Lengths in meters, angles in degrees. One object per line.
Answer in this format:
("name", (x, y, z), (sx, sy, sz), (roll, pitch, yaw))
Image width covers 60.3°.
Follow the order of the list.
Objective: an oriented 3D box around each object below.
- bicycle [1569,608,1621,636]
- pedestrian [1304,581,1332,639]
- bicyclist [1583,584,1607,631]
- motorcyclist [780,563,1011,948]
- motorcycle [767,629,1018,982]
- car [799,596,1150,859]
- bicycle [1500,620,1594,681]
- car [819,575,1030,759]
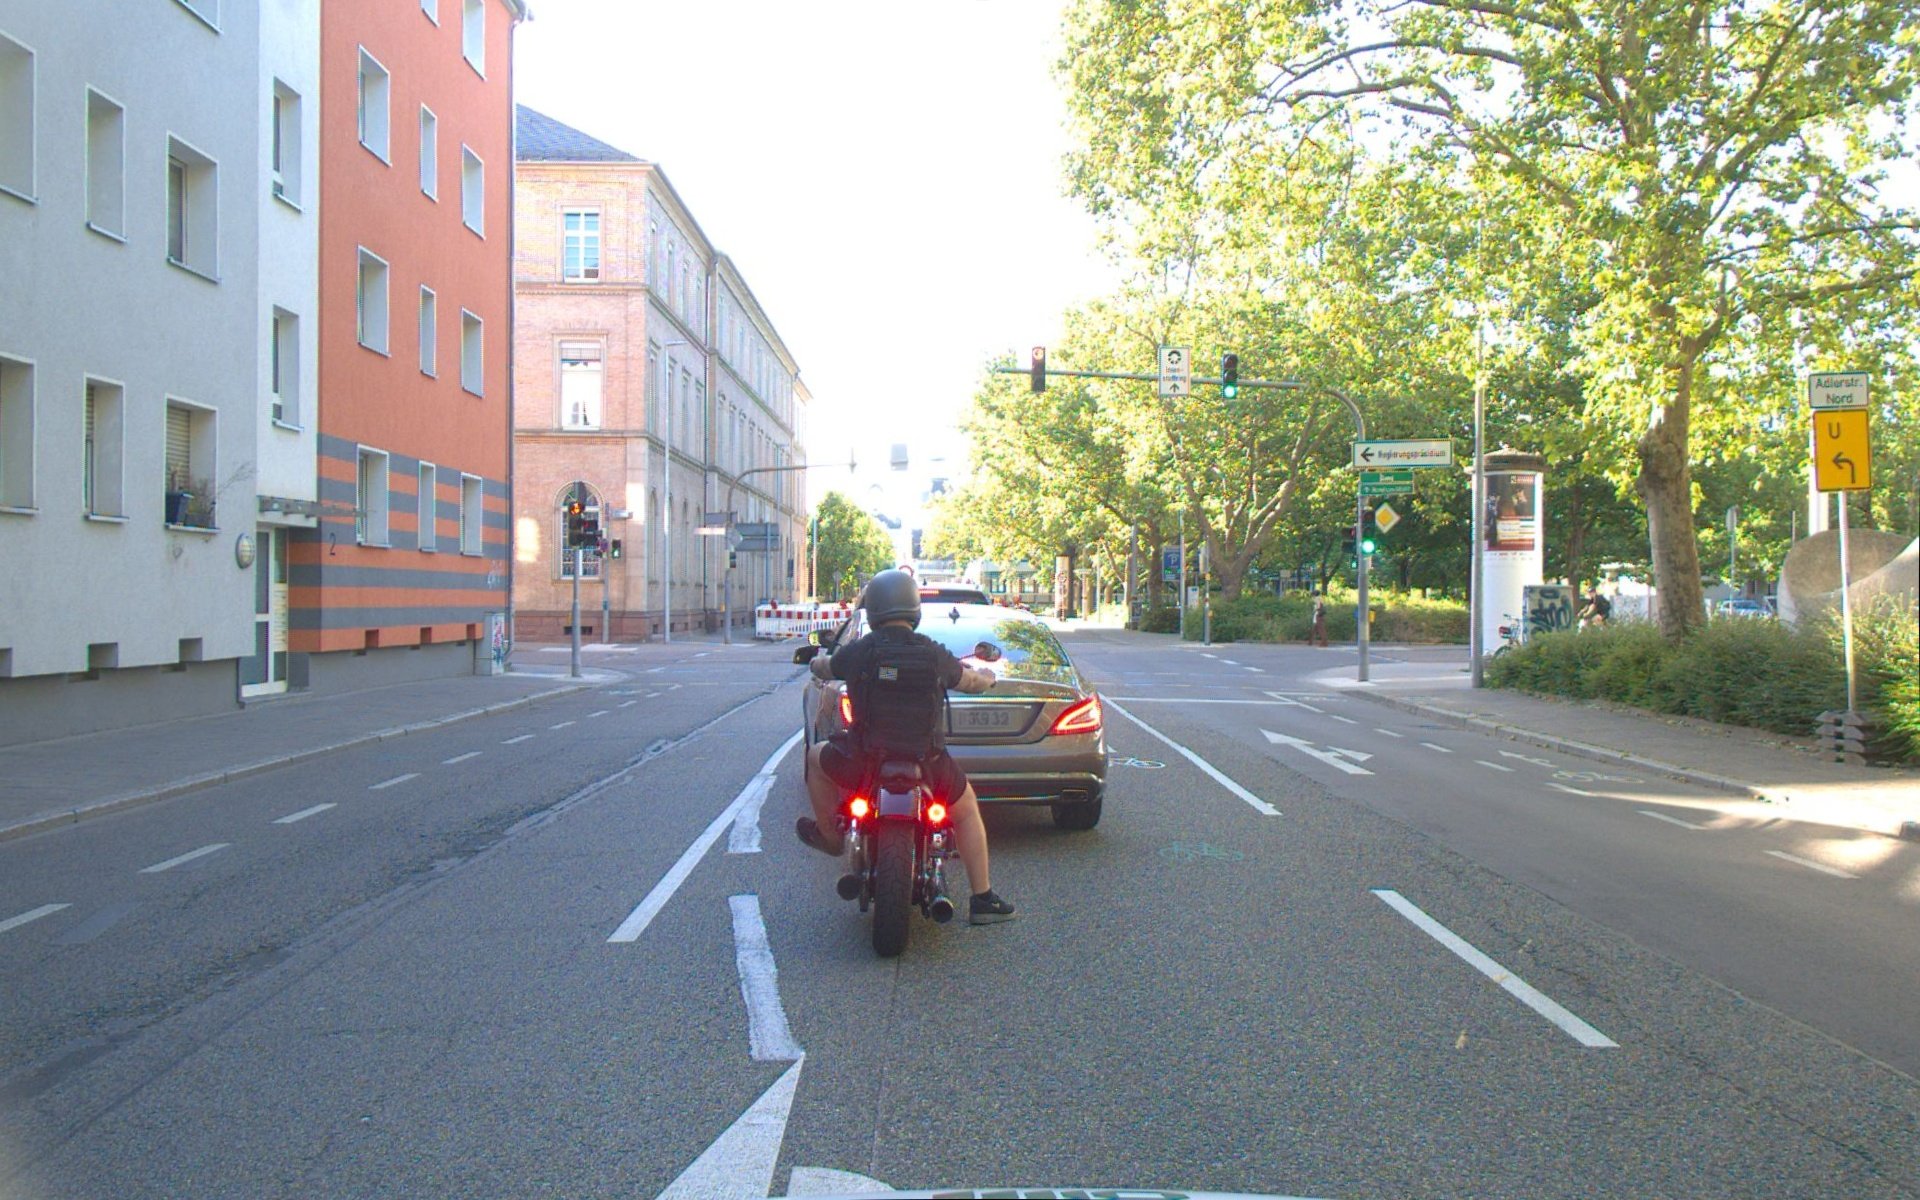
("bicycle", (18.810, 0.644, 48.984), (1.340, 0.814, 0.512), (1, 0, 2))
("pedestrian", (11.191, 0.309, 51.688), (0.665, 1.803, 0.615), (1, -1, 33))
("bicyclist", (18.799, 0.211, 48.985), (0.511, 1.371, 0.543), (1, -1, 2))
("motorcyclist", (-0.276, 0.647, 7.537), (0.961, 1.606, 1.248), (0, 0, -1))
("motorcycle", (-0.276, 0.810, 7.555), (0.961, 1.297, 2.407), (0, 0, -1))
("car", (-0.113, 0.713, 11.617), (1.834, 1.469, 4.422), (0, 0, -8))
("bicycle", (9.789, 0.838, 27.594), (1.452, 0.997, 0.299), (1, -1, 5))
("car", (-0.361, 0.636, 17.537), (1.953, 1.695, 3.999), (1, 0, -1))
